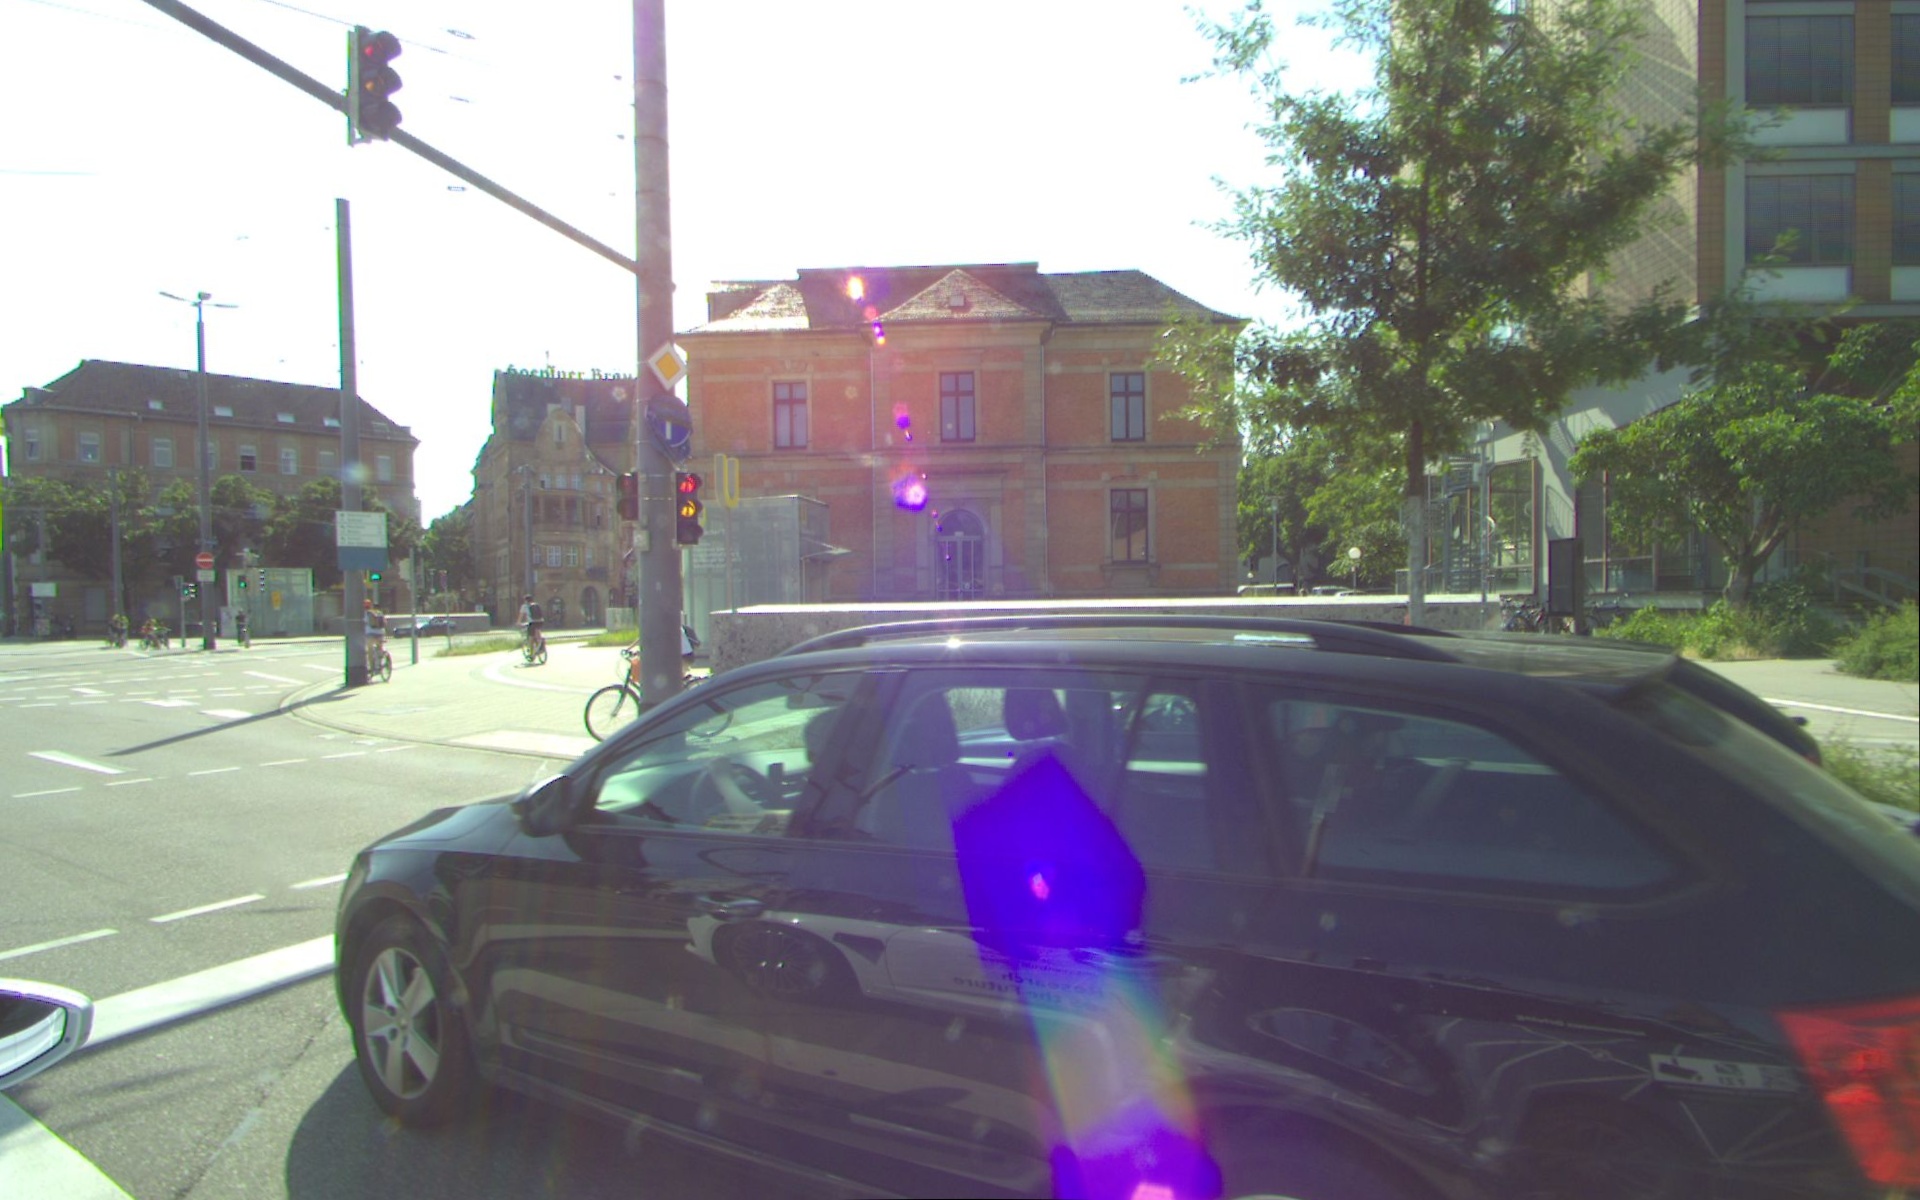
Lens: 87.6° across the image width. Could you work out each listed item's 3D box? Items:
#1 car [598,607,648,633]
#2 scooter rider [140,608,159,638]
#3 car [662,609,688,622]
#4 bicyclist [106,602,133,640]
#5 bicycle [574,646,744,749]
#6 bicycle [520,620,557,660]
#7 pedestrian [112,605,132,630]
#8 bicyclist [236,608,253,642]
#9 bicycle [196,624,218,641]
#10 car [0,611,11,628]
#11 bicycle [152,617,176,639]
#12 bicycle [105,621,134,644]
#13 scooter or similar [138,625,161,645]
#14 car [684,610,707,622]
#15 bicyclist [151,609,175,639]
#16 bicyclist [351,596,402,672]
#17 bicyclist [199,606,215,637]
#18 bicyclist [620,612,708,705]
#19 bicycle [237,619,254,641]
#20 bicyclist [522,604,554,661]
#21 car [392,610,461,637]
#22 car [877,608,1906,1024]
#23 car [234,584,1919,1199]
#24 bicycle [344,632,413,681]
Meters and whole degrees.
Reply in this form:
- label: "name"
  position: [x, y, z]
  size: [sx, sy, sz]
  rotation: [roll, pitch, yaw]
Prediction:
- label: "car"
  position: [-18.778, 1.085, 55.881]
  size: [1.639, 1.331, 3.452]
  rotation: [-1, 0, -1]
- label: "scooter rider"
  position: [-38.938, 1.103, 48.119]
  size: [0.401, 1.415, 0.585]
  rotation: [-1, -1, 32]
- label: "car"
  position: [-30.657, 1.630, 107.801]
  size: [1.606, 1.363, 3.583]
  rotation: [-1, 0, 1]
- label: "bicyclist"
  position: [-41.622, 1.050, 49.582]
  size: [0.918, 1.843, 1.045]
  rotation: [1, -2, -36]
- label: "bicycle"
  position: [-3.690, 1.162, 12.299]
  size: [1.888, 1.029, 0.714]
  rotation: [-3, 2, -25]
- label: "bicycle"
  position: [-11.428, 1.084, 27.104]
  size: [0.706, 1.028, 2.011]
  rotation: [1, -2, -29]
- label: "pedestrian"
  position: [-49.812, 1.029, 59.512]
  size: [0.699, 1.451, 0.614]
  rotation: [0, -1, -5]
- label: "bicyclist"
  position: [-35.861, 1.254, 50.220]
  size: [0.660, 1.645, 0.777]
  rotation: [1, 0, -35]
- label: "bicycle"
  position: [-39.570, 1.687, 52.623]
  size: [1.567, 0.877, 0.498]
  rotation: [0, -1, 38]
- label: "car"
  position: [-116.979, 2.386, 121.838]
  size: [2.094, 2.040, 3.962]
  rotation: [-1, 0, -43]
- label: "bicycle"
  position: [-39.978, 1.395, 50.292]
  size: [0.919, 1.083, 2.819]
  rotation: [1, -1, -38]
- label: "bicycle"
  position: [-41.756, 1.624, 49.768]
  size: [0.918, 1.082, 2.727]
  rotation: [1, -2, -36]
- label: "scooter or similar"
  position: [-38.922, 1.683, 48.105]
  size: [0.978, 0.988, 0.585]
  rotation: [-1, -2, 32]
- label: "car"
  position: [-30.460, 1.808, 115.259]
  size: [1.606, 1.363, 3.610]
  rotation: [-1, 0, 1]
- label: "bicyclist"
  position: [-39.793, 1.194, 50.013]
  size: [0.919, 1.470, 1.242]
  rotation: [1, -1, -38]
- label: "bicyclist"
  position: [-13.593, 0.777, 23.322]
  size: [0.864, 1.692, 0.710]
  rotation: [0, 3, 40]
- label: "bicyclist"
  position: [-39.552, 1.118, 52.612]
  size: [0.641, 1.642, 0.498]
  rotation: [0, -1, 37]
- label: "bicyclist"
  position: [-3.650, 0.695, 12.313]
  size: [0.901, 1.043, 0.714]
  rotation: [-3, 2, -24]
- label: "bicycle"
  position: [-36.345, 1.494, 50.920]
  size: [0.660, 1.083, 2.447]
  rotation: [1, -1, -35]
- label: "bicyclist"
  position: [-11.433, 0.884, 27.124]
  size: [0.706, 1.507, 0.945]
  rotation: [1, -2, -29]
- label: "car"
  position: [-33.382, 1.449, 62.786]
  size: [1.608, 1.604, 3.997]
  rotation: [-1, 0, 12]
- label: "car"
  position: [1.840, 0.787, 5.344]
  size: [4.330, 1.449, 1.698]
  rotation: [0, 1, 28]
- label: "car"
  position: [-0.030, 0.763, 2.881]
  size: [4.710, 1.454, 1.628]
  rotation: [-1, -1, 31]
- label: "bicycle"
  position: [-13.577, 1.294, 23.357]
  size: [1.997, 1.029, 0.710]
  rotation: [-1, 3, 41]
